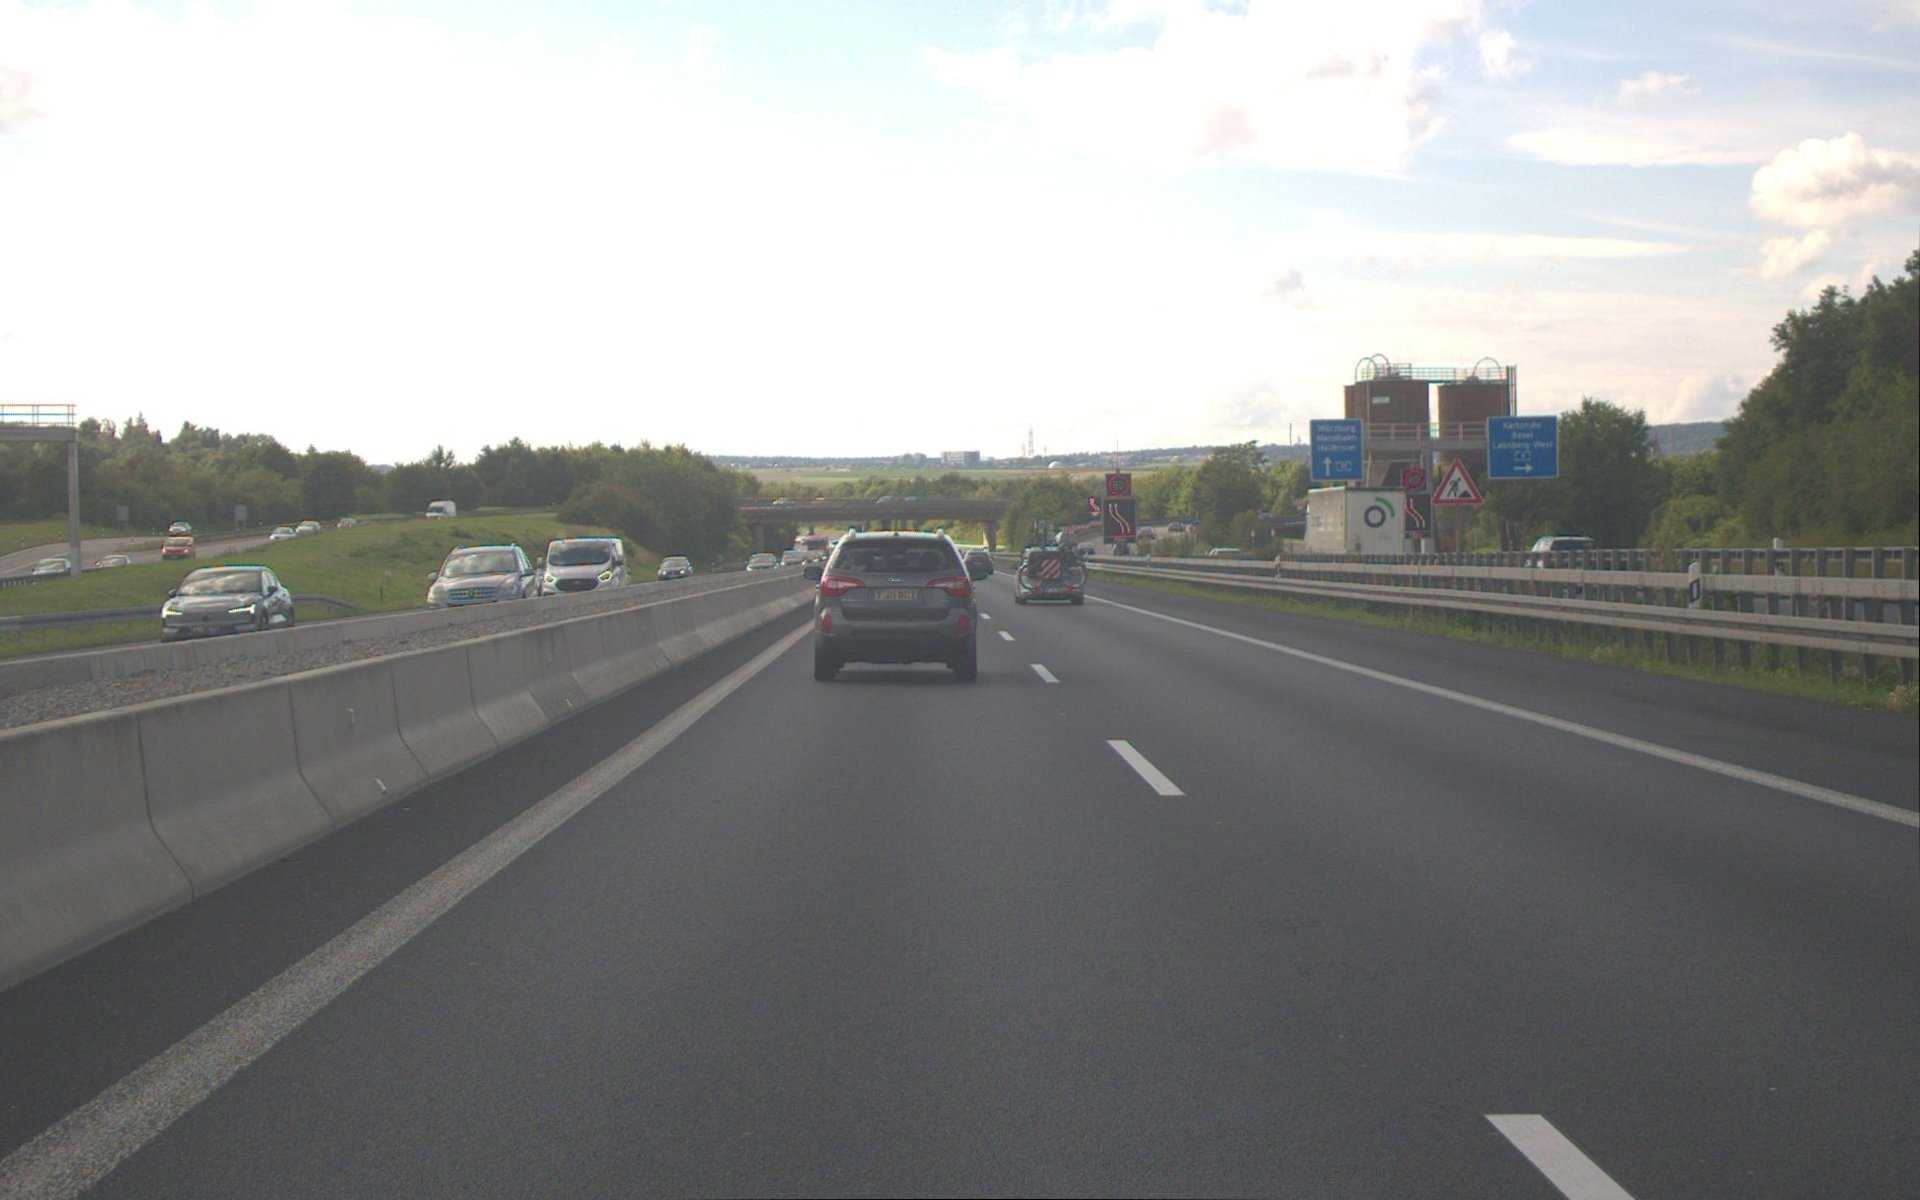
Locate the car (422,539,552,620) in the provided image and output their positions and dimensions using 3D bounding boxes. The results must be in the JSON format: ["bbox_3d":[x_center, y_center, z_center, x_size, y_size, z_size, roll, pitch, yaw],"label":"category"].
[{"bbox_3d":[-9.619,-0.440,70.216,1.993,1.527,5.022,-2,1,-1],"label":"car"}]

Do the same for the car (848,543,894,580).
[{"bbox_3d":[-4.646,-2.036,179.611,2.169,1.837,4.000,-2,1,1],"label":"car"}]

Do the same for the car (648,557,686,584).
[{"bbox_3d":[-16.161,-1.630,189.859,1.727,1.393,4.158,-2,1,-1],"label":"car"}]

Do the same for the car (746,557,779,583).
[{"bbox_3d":[-11.277,-1.733,196.404,1.641,1.393,3.742,-2,1,-1],"label":"car"}]

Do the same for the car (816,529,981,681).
[{"bbox_3d":[-0.675,0.030,39.959,1.750,1.624,3.609,-2,1,1],"label":"car"}]

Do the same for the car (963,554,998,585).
[{"bbox_3d":[1.237,-1.858,206.910,1.975,1.773,4.120,-2,1,-1],"label":"car"}]

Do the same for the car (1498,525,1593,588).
[{"bbox_3d":[16.932,-1.252,99.558,1.993,1.711,4.000,-2,1,-1],"label":"car"}]

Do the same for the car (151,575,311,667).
[{"bbox_3d":[-13.316,0.361,63.025,1.993,1.527,4.507,-2,1,-1],"label":"car"}]

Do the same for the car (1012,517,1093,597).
[{"bbox_3d":[2.521,-1.169,94.274,1.993,2.073,4.000,-2,1,-1],"label":"car"}]

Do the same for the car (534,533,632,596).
[{"bbox_3d":[-9.925,-0.940,90.941,1.993,1.527,5.748,-2,1,-1],"label":"car"}]

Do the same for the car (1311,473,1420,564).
[{"bbox_3d":[17.281,-3.456,147.041,3.576,3.664,7.549,-2,1,-1],"label":"car"}]
